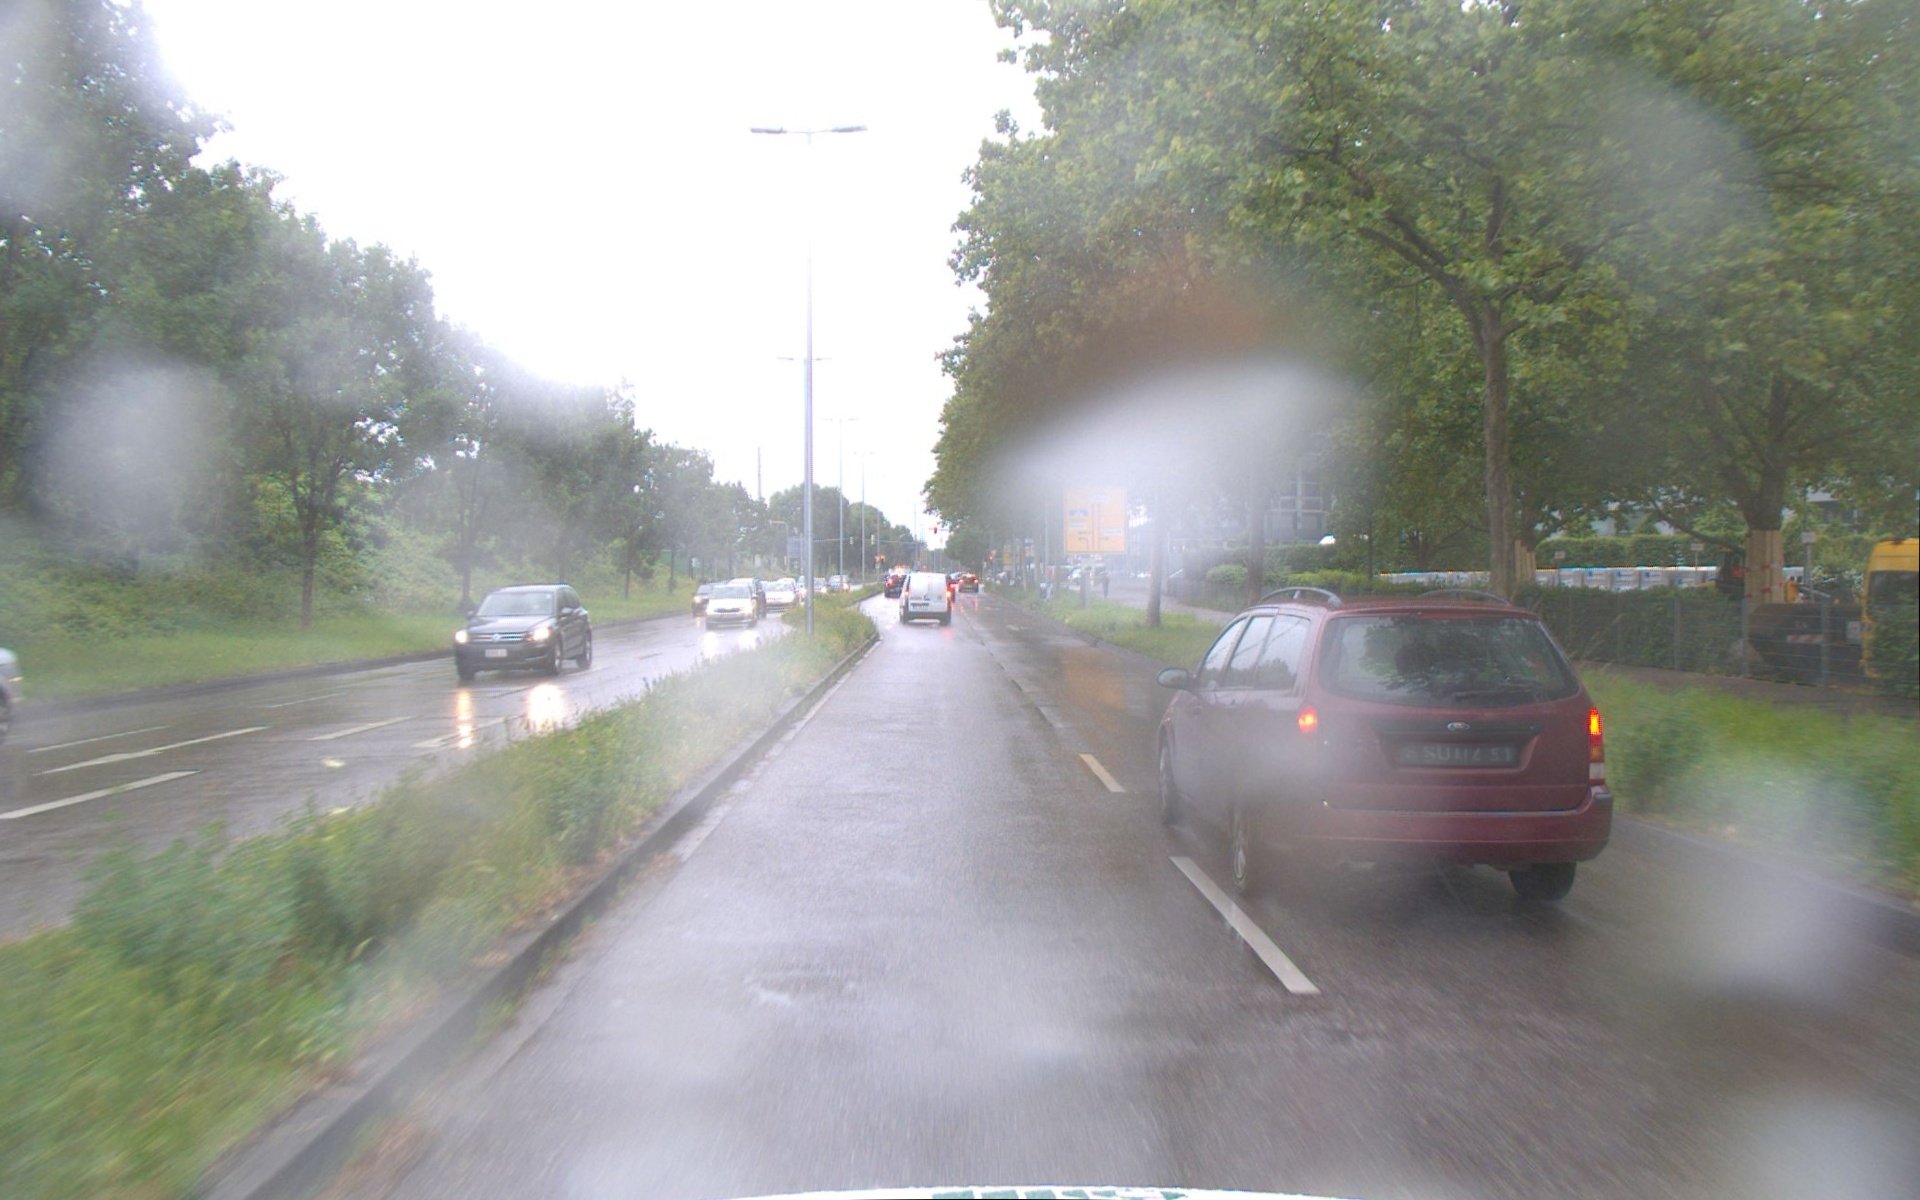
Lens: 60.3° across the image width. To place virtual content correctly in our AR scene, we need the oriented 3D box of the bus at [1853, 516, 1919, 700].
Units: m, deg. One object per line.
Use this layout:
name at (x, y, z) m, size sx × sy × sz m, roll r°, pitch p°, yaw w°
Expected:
bus at (16.389, 0.122, 25.024) m, size 4.694 × 2.693 × 2.000 m, roll 0°, pitch 0°, yaw 0°

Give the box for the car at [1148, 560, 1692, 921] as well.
car at (2.261, 0.607, 9.322) m, size 1.802 × 1.563 × 4.110 m, roll 1°, pitch 0°, yaw -2°

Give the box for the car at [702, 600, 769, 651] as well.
car at (-7.786, 0.852, 57.571) m, size 1.860 × 1.641 × 4.110 m, roll -1°, pitch 0°, yaw -2°

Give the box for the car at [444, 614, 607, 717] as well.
car at (-7.953, 1.150, 30.639) m, size 1.859 × 1.641 × 4.111 m, roll -3°, pitch 0°, yaw 0°

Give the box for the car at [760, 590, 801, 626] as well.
car at (-8.741, 0.368, 80.759) m, size 1.872 × 1.601 × 4.703 m, roll -2°, pitch 1°, yaw -6°

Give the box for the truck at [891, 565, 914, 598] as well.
truck at (-4.486, -1.405, 127.931) m, size 1.721 × 2.509 × 3.998 m, roll 1°, pitch 0°, yaw -2°

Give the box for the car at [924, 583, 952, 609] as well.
car at (-1.415, -0.251, 105.901) m, size 1.674 × 1.576 × 3.999 m, roll 0°, pitch 1°, yaw -2°

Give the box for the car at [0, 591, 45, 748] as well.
car at (-10.917, 0.754, 15.903) m, size 1.860 × 1.641 × 4.476 m, roll -1°, pitch 0°, yaw -2°

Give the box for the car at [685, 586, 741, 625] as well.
car at (-11.779, 0.233, 79.085) m, size 1.953 × 1.717 × 4.708 m, roll -2°, pitch 1°, yaw -1°

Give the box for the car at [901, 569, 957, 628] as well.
car at (-1.166, -0.035, 59.989) m, size 1.953 × 2.049 × 3.998 m, roll 1°, pitch -1°, yaw -2°

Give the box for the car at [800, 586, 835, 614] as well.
car at (-9.182, -0.032, 106.786) m, size 1.870 × 1.601 × 4.708 m, roll -3°, pitch 1°, yaw -1°

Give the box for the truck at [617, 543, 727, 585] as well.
truck at (-26.598, -3.288, 153.195) m, size 10.036 × 3.512 × 2.622 m, roll 1°, pitch -1°, yaw -38°

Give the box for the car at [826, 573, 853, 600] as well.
car at (-9.484, -1.084, 130.658) m, size 1.787 × 1.601 × 4.362 m, roll 4°, pitch 5°, yaw -1°
